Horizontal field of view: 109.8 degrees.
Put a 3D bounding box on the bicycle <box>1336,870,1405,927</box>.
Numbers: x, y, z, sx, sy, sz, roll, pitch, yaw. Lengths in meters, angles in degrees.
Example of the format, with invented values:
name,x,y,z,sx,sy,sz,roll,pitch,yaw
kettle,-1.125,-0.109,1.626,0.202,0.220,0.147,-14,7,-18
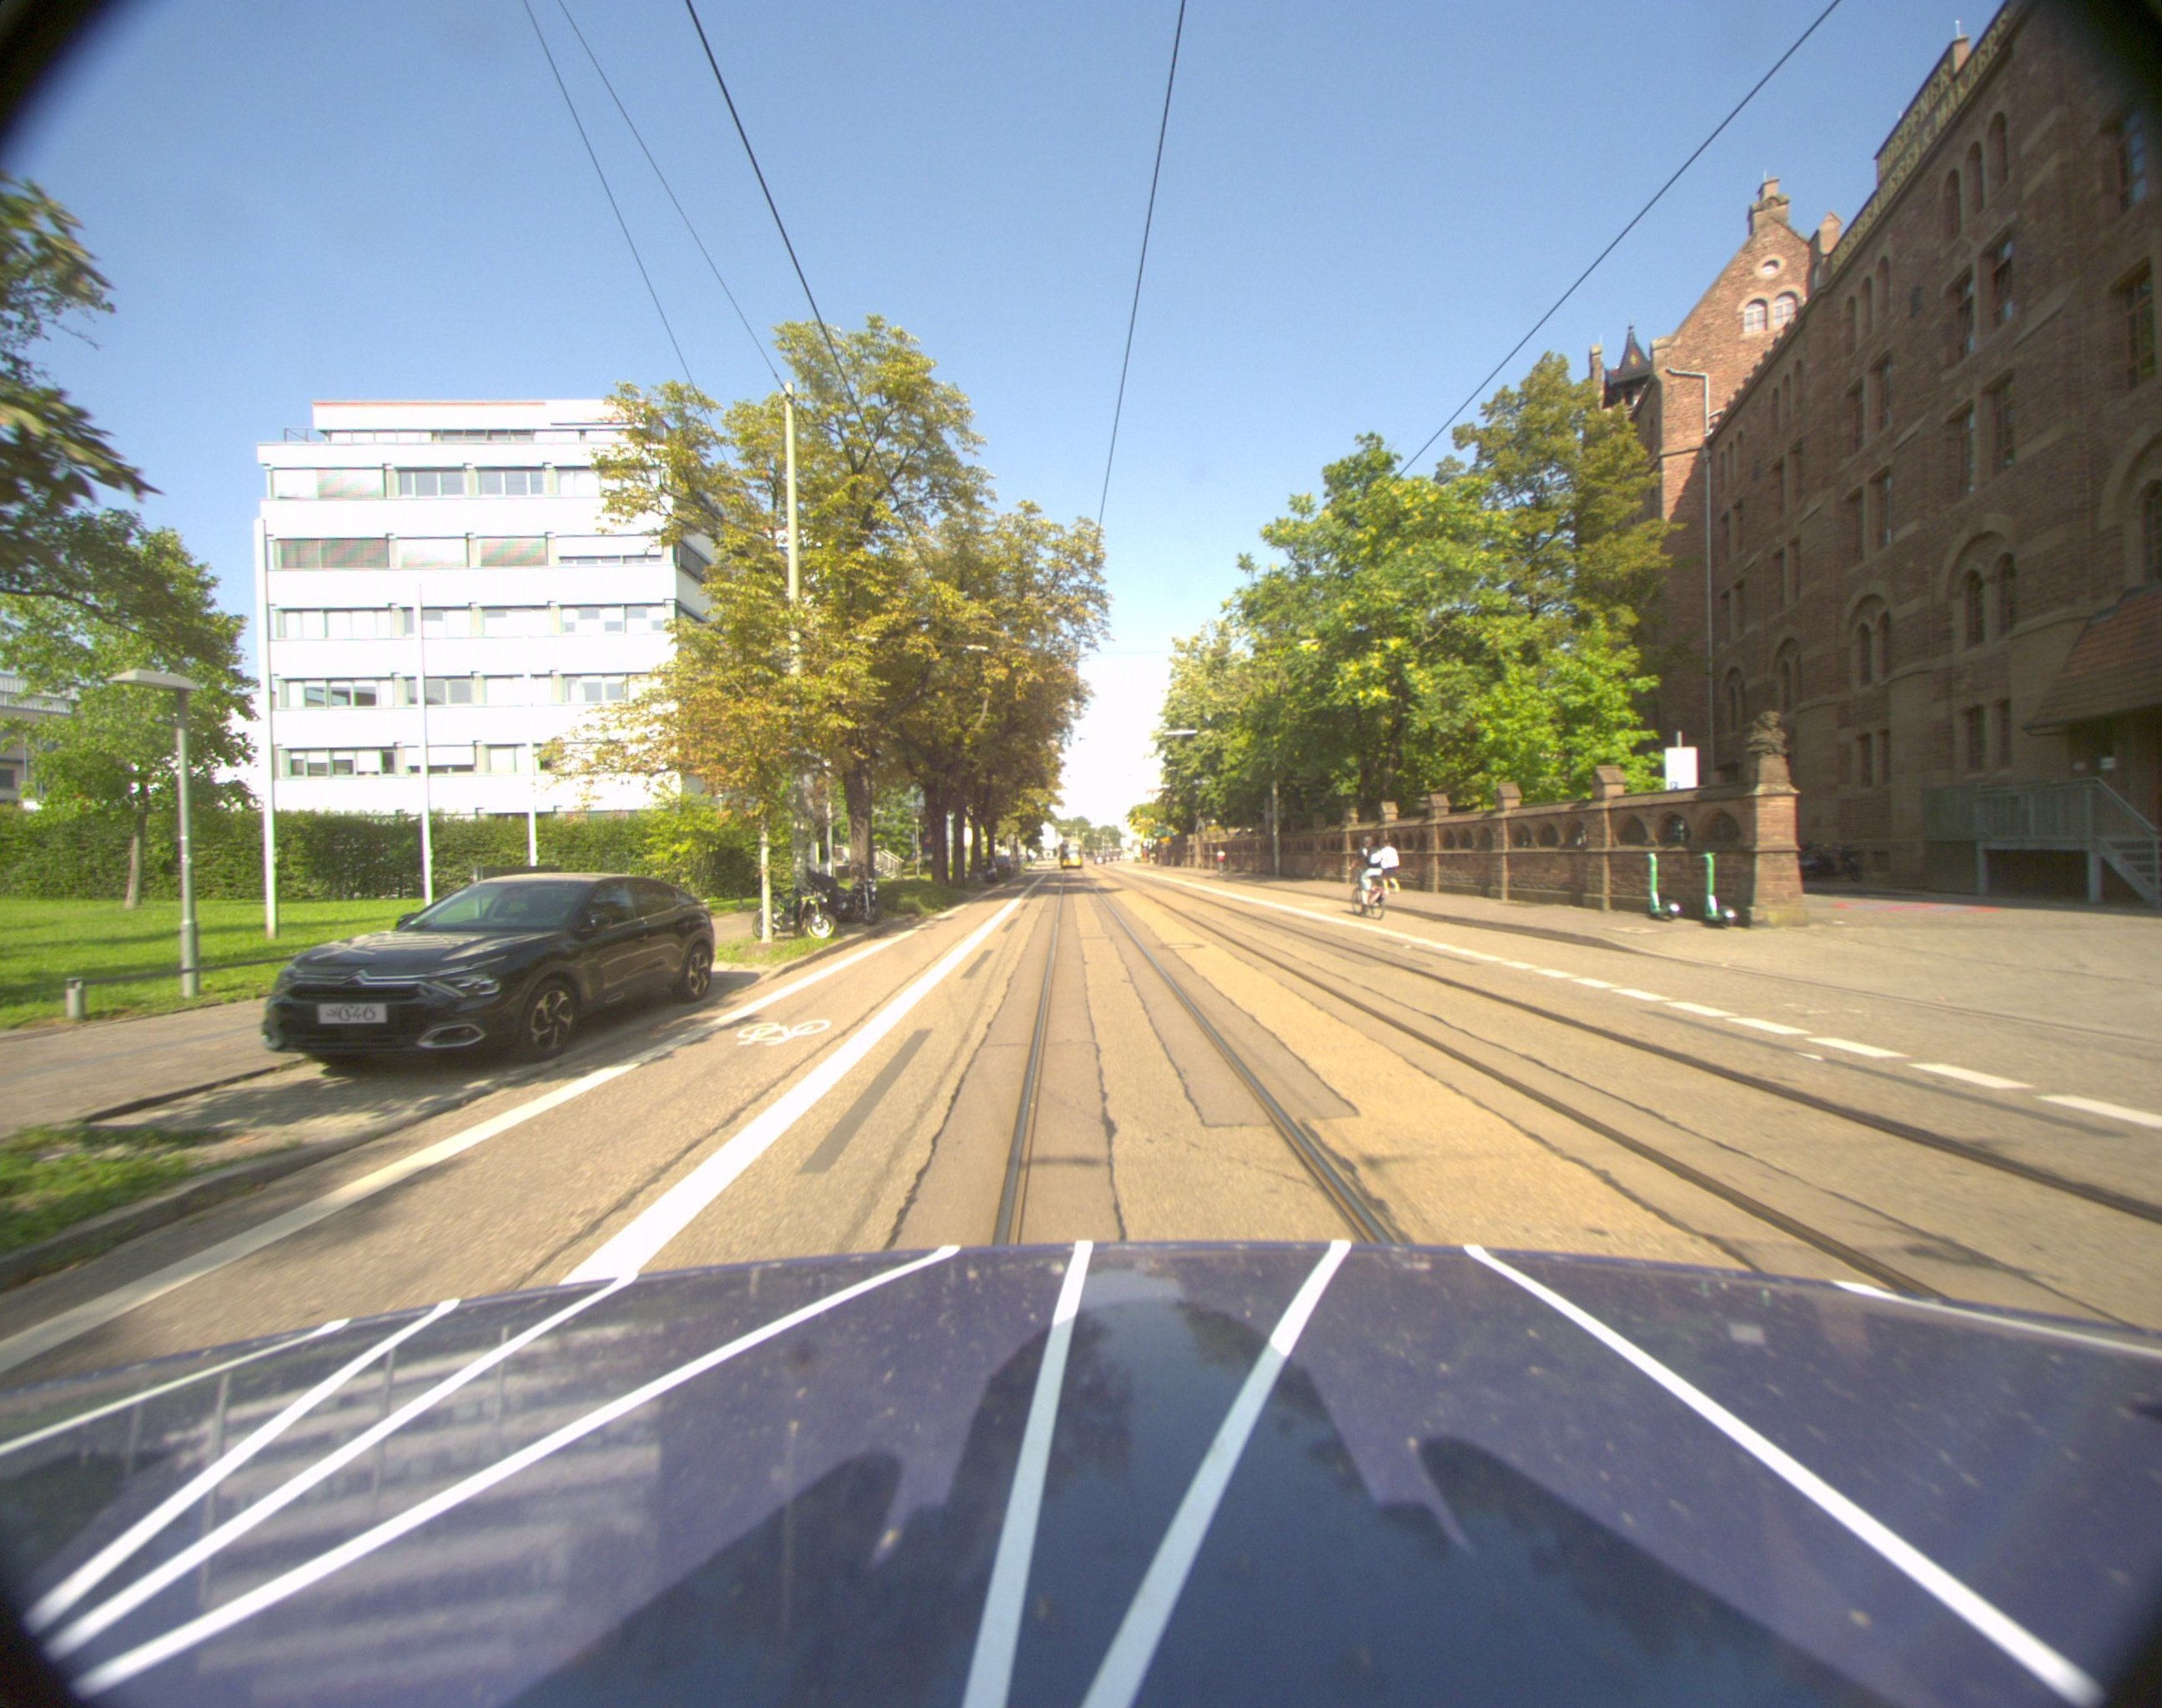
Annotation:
name,x,y,z,sx,sy,sz,roll,pitch,yaw
bicycle,6.439,0.962,17.020,0.699,1.151,2.037,0,0,-3

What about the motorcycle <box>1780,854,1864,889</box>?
name,x,y,z,sx,sy,sz,roll,pitch,yaw
motorcycle,22.105,0.533,22.697,1.694,0.995,0.583,-1,1,23

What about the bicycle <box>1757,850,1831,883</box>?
name,x,y,z,sx,sy,sz,roll,pitch,yaw
bicycle,23.027,0.409,24.576,1.659,1.040,0.566,-1,1,35

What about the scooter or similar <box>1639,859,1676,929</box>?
name,x,y,z,sx,sy,sz,roll,pitch,yaw
scooter or similar,10.064,0.685,13.250,0.818,1.142,0.283,-5,3,-37

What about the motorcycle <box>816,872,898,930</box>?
name,x,y,z,sx,sy,sz,roll,pitch,yaw
motorcycle,-5.408,1.098,18.313,2.061,1.236,0.846,1,1,38

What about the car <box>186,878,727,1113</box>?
name,x,y,z,sx,sy,sz,roll,pitch,yaw
car,-5.312,1.038,7.442,1.745,1.477,4.436,0,0,-2

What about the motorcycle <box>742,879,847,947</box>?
name,x,y,z,sx,sy,sz,roll,pitch,yaw
motorcycle,-5.538,1.114,14.655,1.984,1.218,0.647,-1,1,24

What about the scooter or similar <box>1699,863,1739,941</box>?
name,x,y,z,sx,sy,sz,roll,pitch,yaw
scooter or similar,10.096,0.747,12.017,0.818,1.142,0.283,-5,3,-37

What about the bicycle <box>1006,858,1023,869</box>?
name,x,y,z,sx,sy,sz,roll,pitch,yaw
bicycle,-6.165,0.905,70.398,1.621,1.009,0.382,-1,1,-4

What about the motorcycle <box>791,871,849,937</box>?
name,x,y,z,sx,sy,sz,roll,pitch,yaw
motorcycle,-5.875,1.078,17.039,0.846,1.319,2.062,0,1,-30

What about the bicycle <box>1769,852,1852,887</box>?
name,x,y,z,sx,sy,sz,roll,pitch,yaw
bicycle,22.592,0.477,23.588,1.772,1.040,0.666,-1,1,35

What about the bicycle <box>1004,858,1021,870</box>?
name,x,y,z,sx,sy,sz,roll,pitch,yaw
bicycle,-6.299,0.915,69.919,1.461,1.009,0.382,-1,1,-4

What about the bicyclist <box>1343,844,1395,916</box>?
name,x,y,z,sx,sy,sz,roll,pitch,yaw
bicyclist,6.447,0.563,17.060,0.699,1.571,1.087,0,0,-3

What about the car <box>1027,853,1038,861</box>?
name,x,y,z,sx,sy,sz,roll,pitch,yaw
car,-9.811,0.642,154.914,1.755,1.598,4.000,-1,1,2

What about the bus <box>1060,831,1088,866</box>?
name,x,y,z,sx,sy,sz,roll,pitch,yaw
bus,-0.728,-0.687,88.460,2.901,3.771,9.318,-1,1,1

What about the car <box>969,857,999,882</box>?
name,x,y,z,sx,sy,sz,roll,pitch,yaw
car,-5.970,0.932,47.234,1.567,1.433,3.562,1,1,-3

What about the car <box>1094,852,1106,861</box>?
name,x,y,z,sx,sy,sz,roll,pitch,yaw
car,3.008,0.410,120.538,1.695,1.433,3.999,0,0,-1

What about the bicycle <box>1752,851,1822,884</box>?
name,x,y,z,sx,sy,sz,roll,pitch,yaw
bicycle,23.465,0.454,25.286,1.659,1.040,0.566,-1,1,35

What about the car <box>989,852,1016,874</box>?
name,x,y,z,sx,sy,sz,roll,pitch,yaw
car,-6.104,0.687,59.409,1.867,1.643,4.182,0,1,-2

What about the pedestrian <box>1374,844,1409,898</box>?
name,x,y,z,sx,sy,sz,roll,pitch,yaw
pedestrian,9.390,0.505,22.978,0.717,1.580,0.775,-1,1,-1
